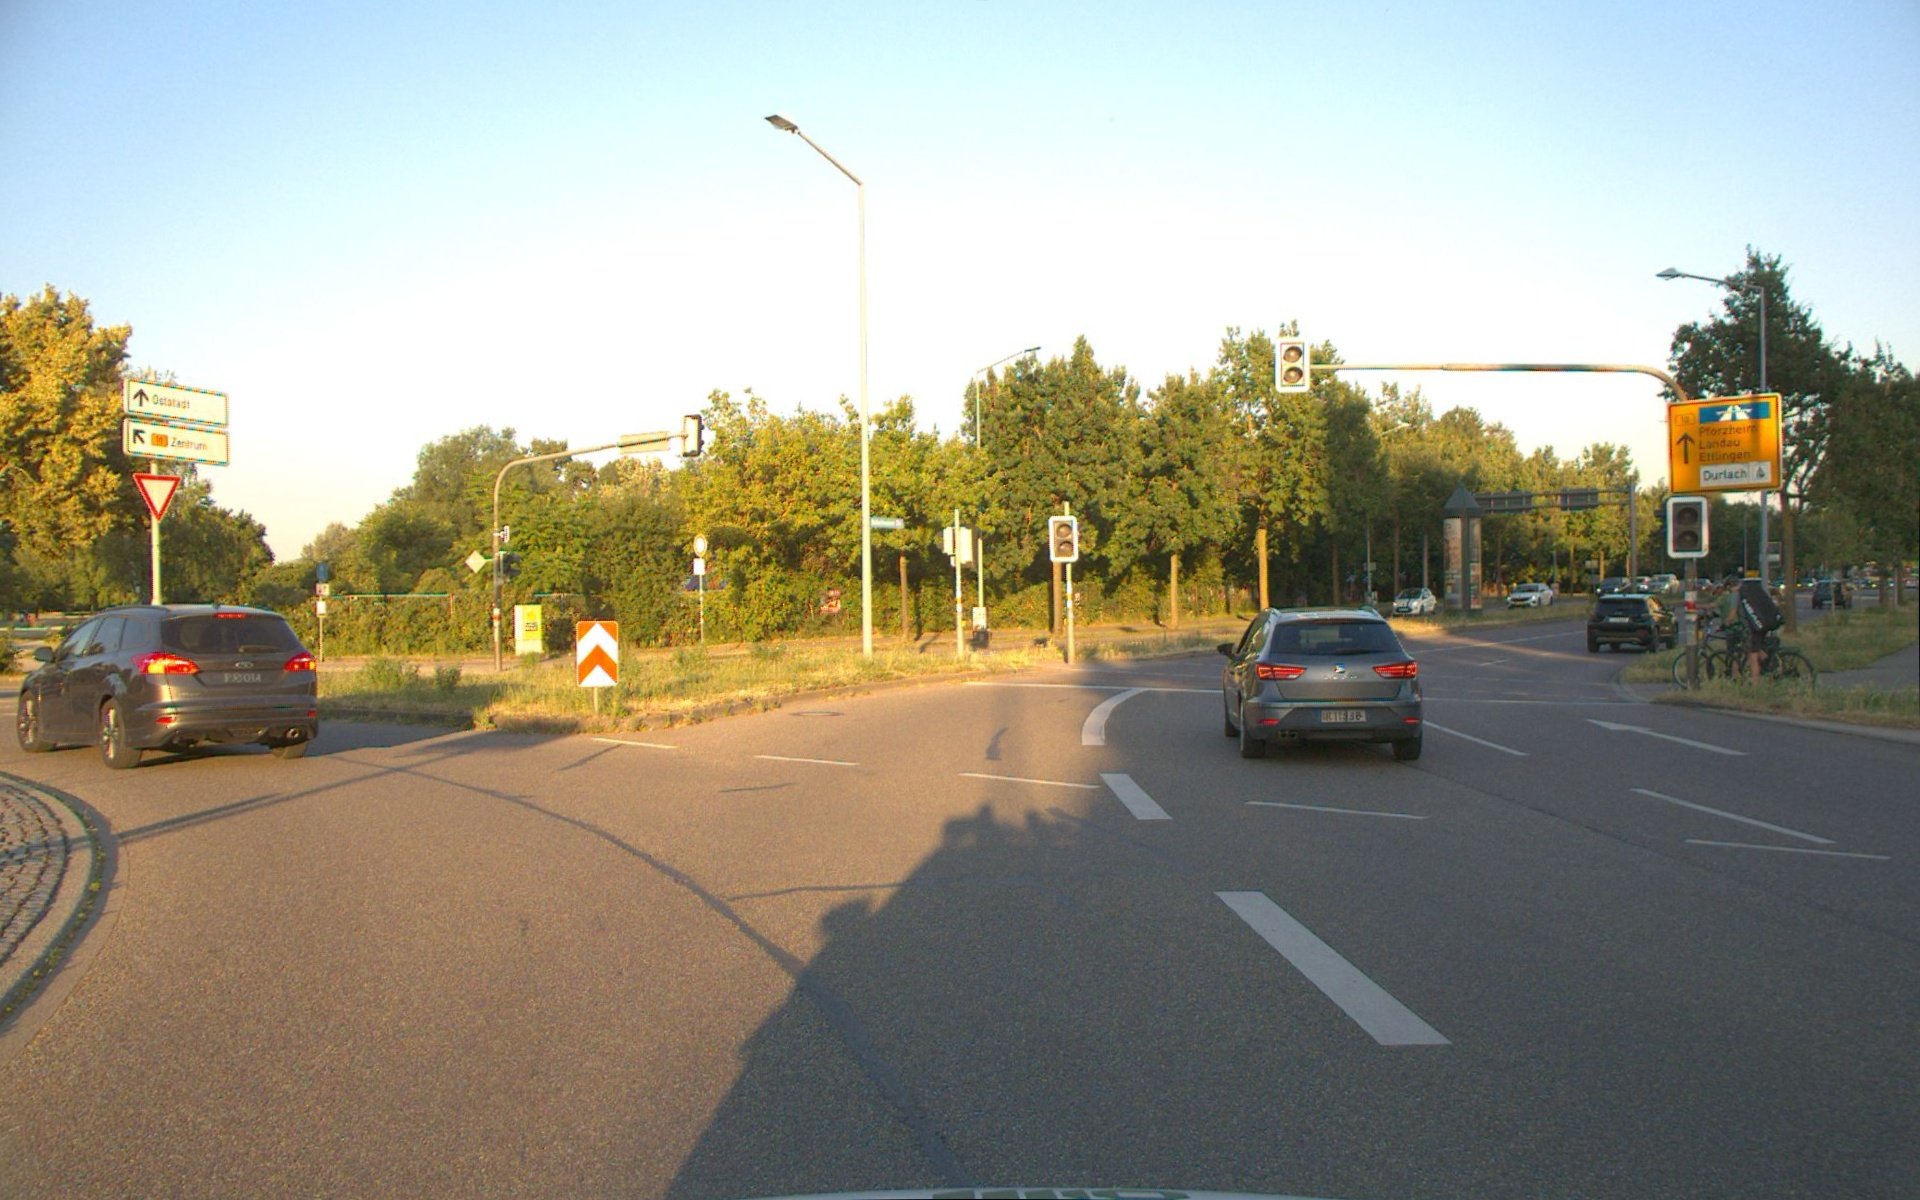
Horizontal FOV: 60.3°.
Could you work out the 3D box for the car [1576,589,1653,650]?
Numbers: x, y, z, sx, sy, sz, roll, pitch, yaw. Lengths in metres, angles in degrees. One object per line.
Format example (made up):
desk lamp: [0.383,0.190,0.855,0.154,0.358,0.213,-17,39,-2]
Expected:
car: [17.871,0.496,45.317,1.774,1.551,4.136,-1,1,19]

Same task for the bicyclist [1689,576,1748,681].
bicyclist: [12.787,0.479,27.881,0.753,1.732,0.640,-3,-1,31]

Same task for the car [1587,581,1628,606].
car: [44.862,-0.421,114.517,1.766,1.661,4.443,-2,-1,33]

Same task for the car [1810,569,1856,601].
car: [45.218,-0.790,85.628,1.871,1.646,3.991,0,1,32]

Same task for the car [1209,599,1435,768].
car: [3.573,0.753,16.973,1.709,1.449,4.137,-1,1,5]

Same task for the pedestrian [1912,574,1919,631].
pedestrian: [27.047,0.063,46.154,0.780,1.577,0.566,-1,0,34]

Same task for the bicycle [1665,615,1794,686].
bicycle: [12.916,0.850,27.789,1.887,1.104,0.455,-4,-1,32]

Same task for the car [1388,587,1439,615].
car: [24.542,0.049,89.425,1.523,1.468,3.473,-2,-1,36]

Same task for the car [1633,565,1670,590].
car: [53.461,-1.742,127.834,1.881,1.785,4.909,-2,-1,31]

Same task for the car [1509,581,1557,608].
car: [33.234,-0.331,95.879,1.691,1.474,4.539,0,1,32]

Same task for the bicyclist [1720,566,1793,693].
bicyclist: [12.430,0.461,25.805,0.890,1.931,0.640,-3,-1,31]

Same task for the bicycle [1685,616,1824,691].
bicycle: [12.407,0.847,25.852,1.887,1.104,0.455,-3,-1,32]

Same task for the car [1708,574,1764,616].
car: [29.886,-0.199,63.647,1.713,1.514,4.128,0,1,29]

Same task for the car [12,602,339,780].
car: [-7.829,0.786,16.334,1.738,1.492,4.068,-1,1,-44]
